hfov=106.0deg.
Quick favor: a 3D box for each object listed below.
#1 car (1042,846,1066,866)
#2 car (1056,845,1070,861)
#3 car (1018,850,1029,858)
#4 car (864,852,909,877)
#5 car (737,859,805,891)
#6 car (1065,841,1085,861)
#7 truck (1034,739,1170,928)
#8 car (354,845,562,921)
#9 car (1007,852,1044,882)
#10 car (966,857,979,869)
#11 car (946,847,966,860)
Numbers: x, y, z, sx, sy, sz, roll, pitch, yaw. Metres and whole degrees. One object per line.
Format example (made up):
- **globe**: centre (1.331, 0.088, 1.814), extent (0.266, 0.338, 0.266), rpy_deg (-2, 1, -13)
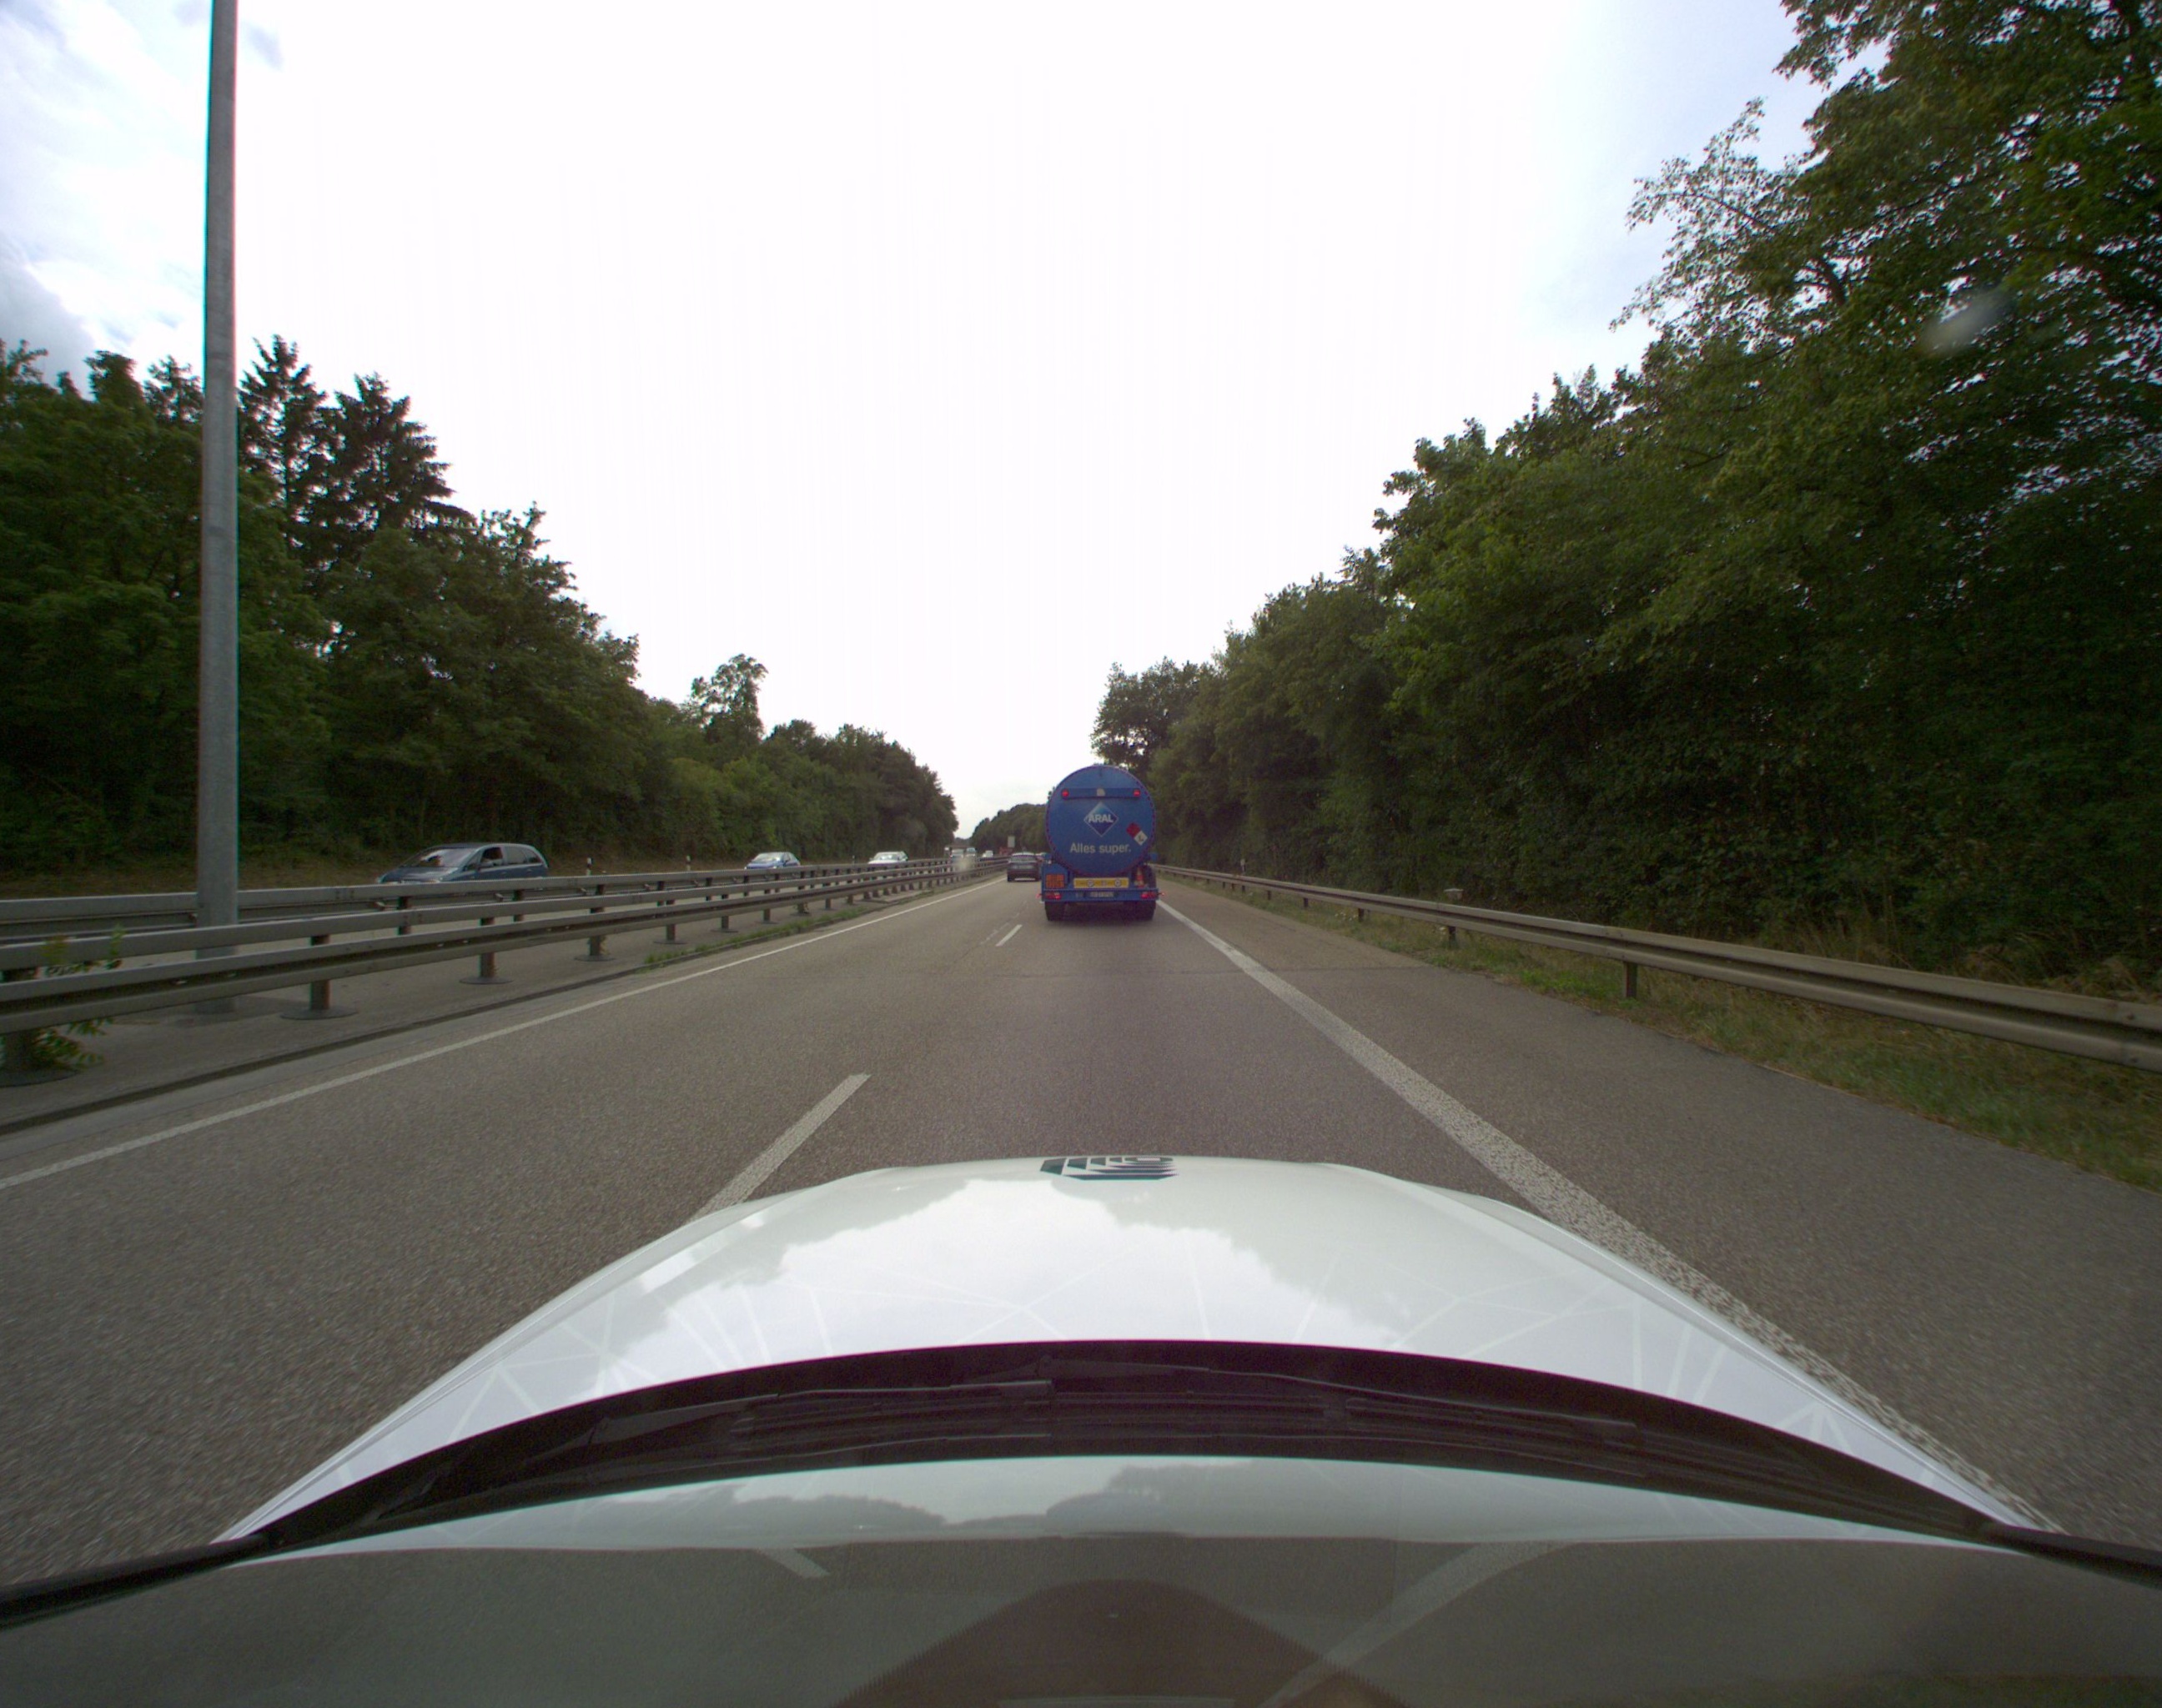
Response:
- **car**: centre (-2.206, 0.158, 67.353), extent (1.820, 1.609, 4.167), rpy_deg (-1, 0, 0)
- **car**: centre (-2.688, -0.150, 119.262), extent (1.988, 2.244, 3.998), rpy_deg (-1, 0, -1)
- **car**: centre (-12.423, 0.018, 175.514), extent (1.993, 1.552, 3.987), rpy_deg (-1, 0, -9)
- **car**: centre (-11.599, 0.625, 48.742), extent (1.706, 1.427, 4.056), rpy_deg (-1, 0, 0)
- **car**: centre (-15.260, 0.996, 40.304), extent (1.806, 1.450, 4.056), rpy_deg (-1, 0, 0)
- **car**: centre (-0.728, -0.337, 95.902), extent (1.984, 2.244, 4.005), rpy_deg (-1, 0, 5)
- **truck**: centre (0.514, -0.418, 20.637), extent (2.745, 3.846, 7.690), rpy_deg (-1, 0, 1)
- **car**: centre (-14.589, 0.626, 19.415), extent (1.725, 1.601, 4.131), rpy_deg (-1, 0, 1)
- **car**: centre (-3.106, 0.711, 46.355), extent (1.820, 1.609, 4.166), rpy_deg (-1, 0, 0)
- **car**: centre (-24.263, 1.907, 182.738), extent (2.306, 2.611, 5.547), rpy_deg (-1, 0, -3)
- **car**: centre (-18.284, -0.009, 119.300), extent (2.029, 1.804, 5.121), rpy_deg (-1, 0, -1)
